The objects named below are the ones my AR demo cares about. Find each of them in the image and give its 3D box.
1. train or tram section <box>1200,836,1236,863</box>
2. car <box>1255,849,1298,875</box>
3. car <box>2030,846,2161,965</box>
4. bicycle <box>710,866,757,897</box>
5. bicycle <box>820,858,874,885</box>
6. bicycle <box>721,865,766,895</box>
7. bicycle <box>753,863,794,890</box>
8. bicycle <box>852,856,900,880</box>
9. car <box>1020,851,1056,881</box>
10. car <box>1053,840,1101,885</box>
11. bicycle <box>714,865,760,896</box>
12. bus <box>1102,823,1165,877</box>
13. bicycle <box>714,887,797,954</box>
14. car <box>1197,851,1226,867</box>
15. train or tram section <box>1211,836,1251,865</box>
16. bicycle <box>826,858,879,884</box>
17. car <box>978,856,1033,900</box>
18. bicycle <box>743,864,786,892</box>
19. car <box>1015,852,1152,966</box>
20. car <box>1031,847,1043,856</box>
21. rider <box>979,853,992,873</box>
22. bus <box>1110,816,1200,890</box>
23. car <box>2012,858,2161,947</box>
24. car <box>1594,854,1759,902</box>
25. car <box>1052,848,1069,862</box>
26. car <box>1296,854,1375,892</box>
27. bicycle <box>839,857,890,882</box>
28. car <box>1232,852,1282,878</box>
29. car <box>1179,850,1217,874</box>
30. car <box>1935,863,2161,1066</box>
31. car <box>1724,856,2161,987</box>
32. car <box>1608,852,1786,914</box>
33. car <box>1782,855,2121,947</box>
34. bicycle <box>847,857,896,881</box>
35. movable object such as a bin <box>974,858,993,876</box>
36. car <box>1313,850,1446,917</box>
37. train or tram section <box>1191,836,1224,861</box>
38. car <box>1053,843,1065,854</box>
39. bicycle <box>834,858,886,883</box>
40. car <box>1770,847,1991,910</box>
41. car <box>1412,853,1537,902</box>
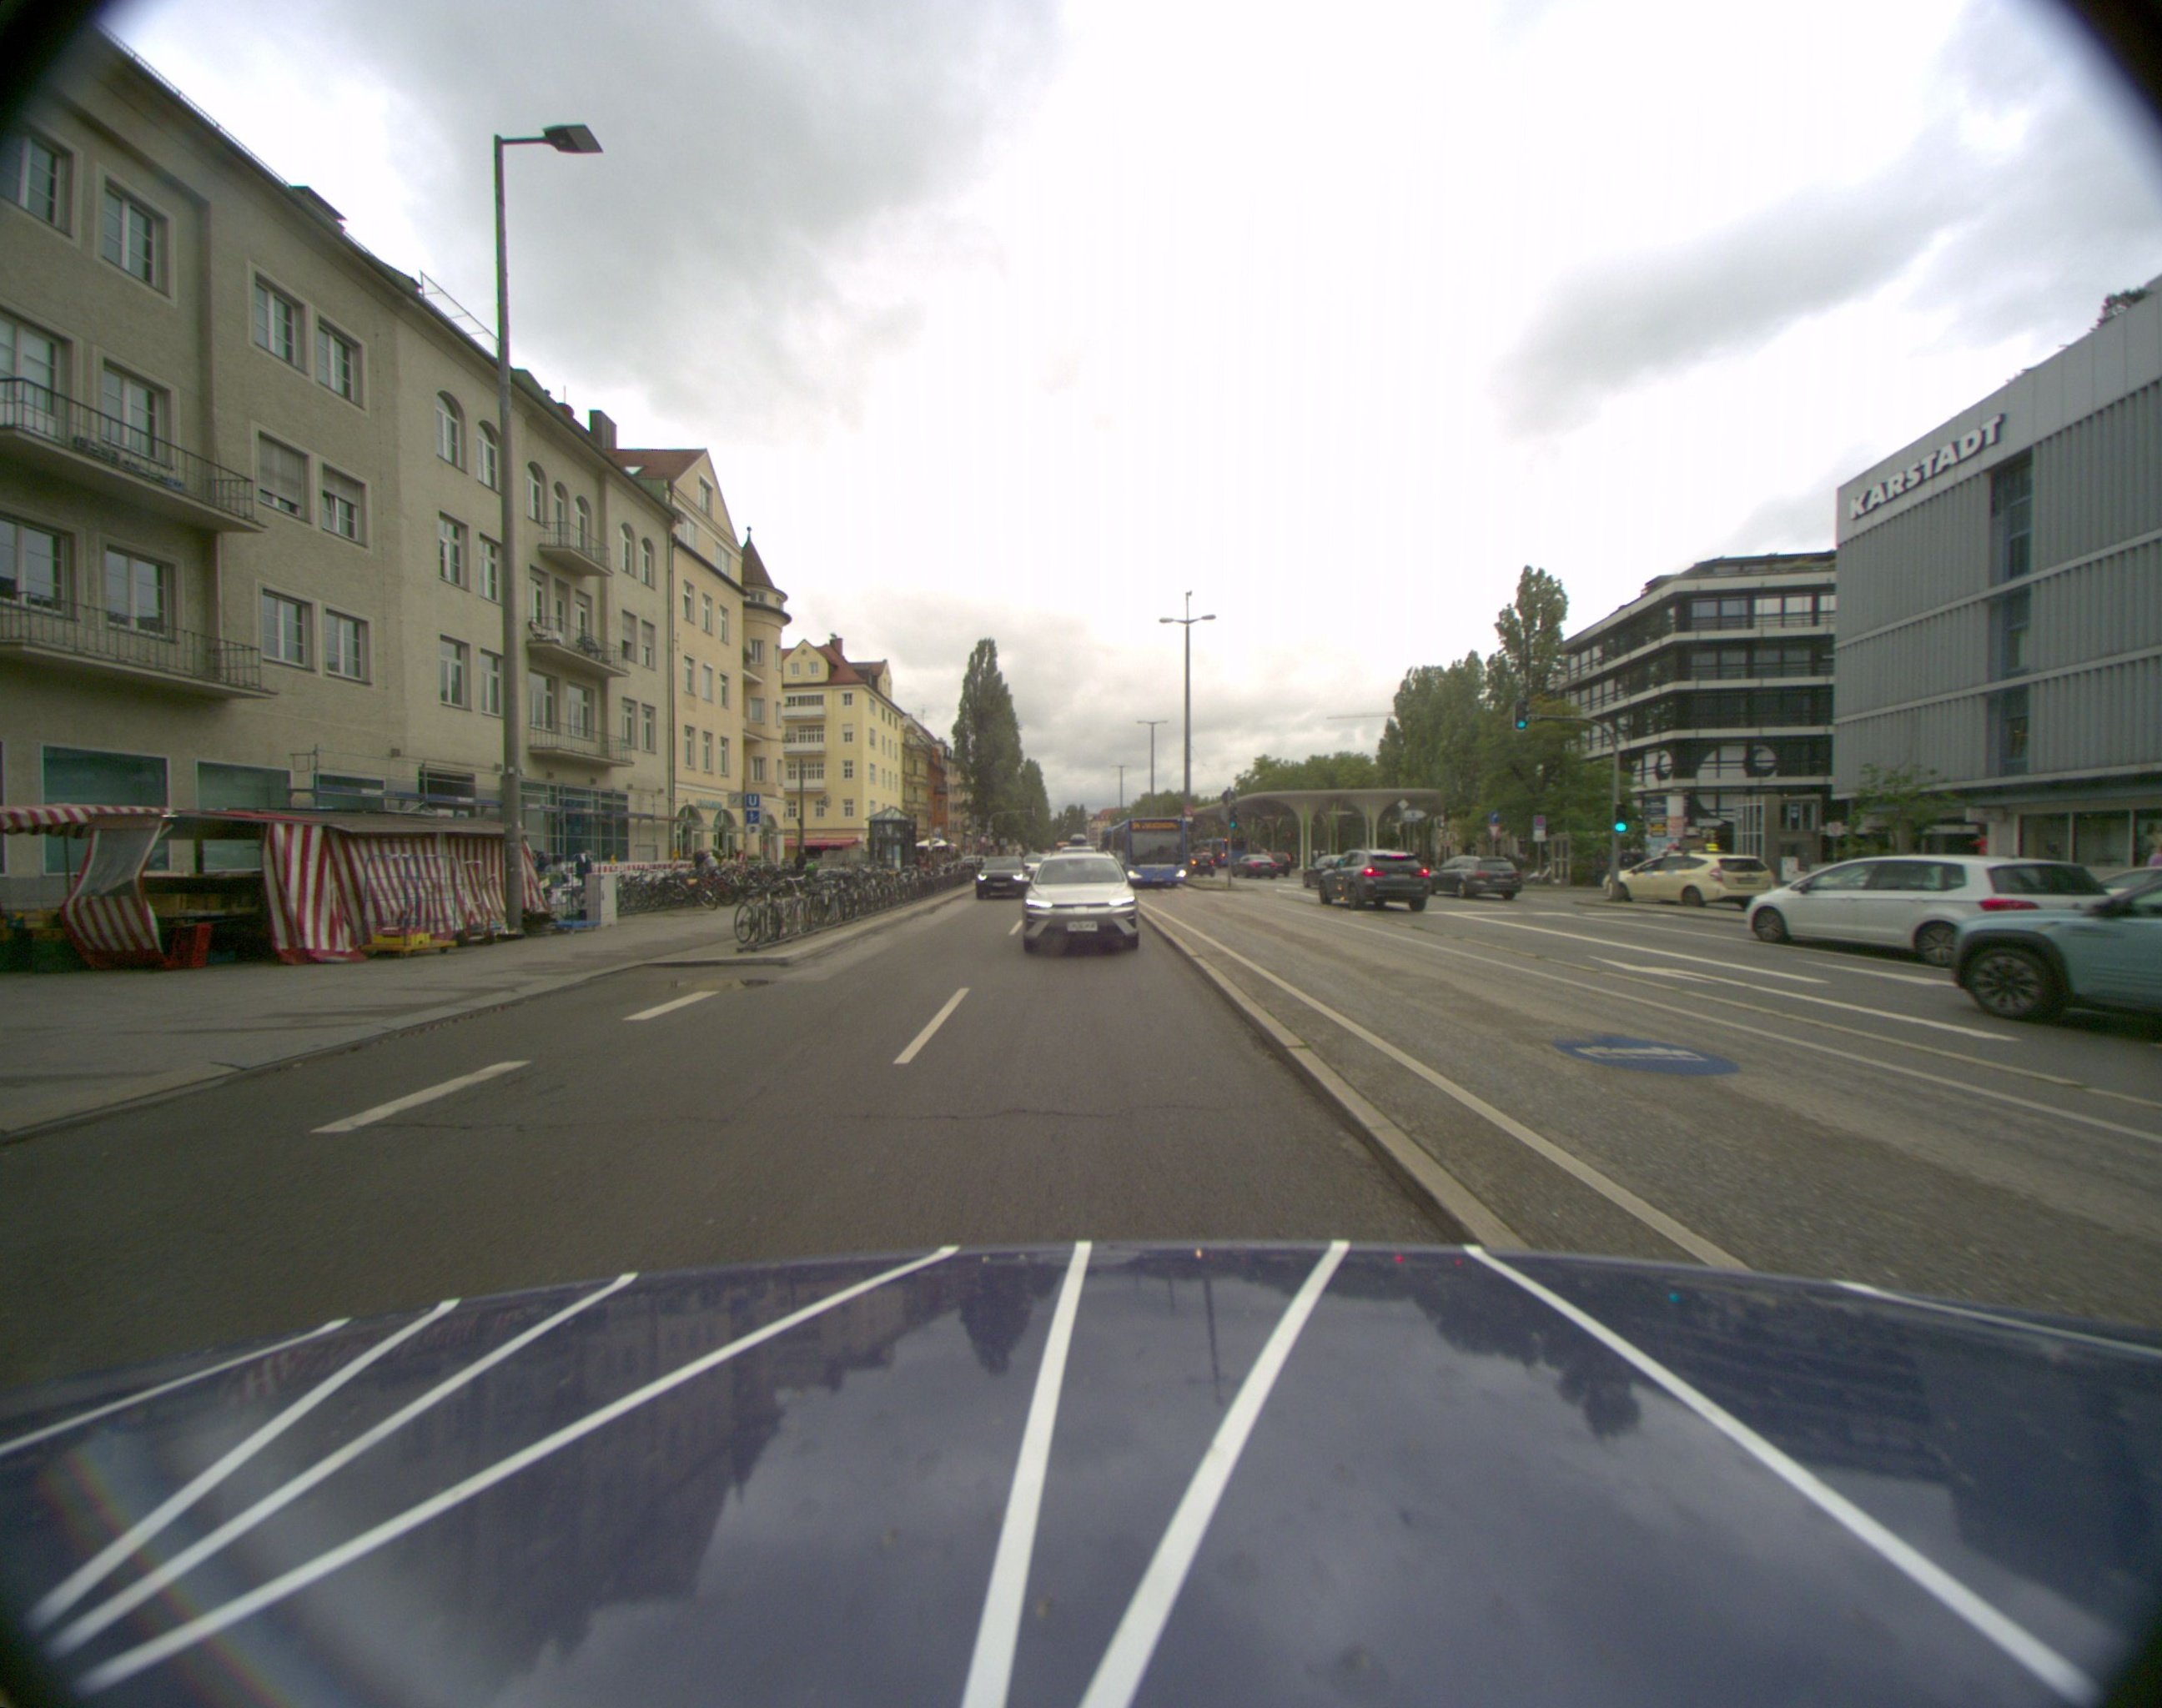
[{"bbox_3d":[15.925,-0.547,88.707,2.840,2.983,7.406,0,1,0],"label":"train or tram section"},{"bbox_3d":[13.670,0.542,53.395,1.998,1.767,4.599,0,1,2],"label":"car"},{"bbox_3d":[16.233,0.754,10.217,1.888,1.689,4.386,1,1,11],"label":"car"},{"bbox_3d":[-12.234,0.968,26.742,1.453,1.071,0.410,1,1,-9],"label":"bicycle"},{"bbox_3d":[-10.941,0.821,35.564,2.368,1.220,0.628,0,1,2],"label":"bicycle"},{"bbox_3d":[-12.361,0.950,27.850,1.453,1.071,0.410,1,1,-9],"label":"bicycle"},{"bbox_3d":[-12.275,0.899,30.325,1.452,1.071,0.410,1,1,-5],"label":"bicycle"},{"bbox_3d":[-10.737,0.732,39.778,2.317,1.220,0.628,0,1,2],"label":"bicycle"},{"bbox_3d":[-2.700,0.743,48.602,1.998,1.740,3.999,-2,1,0],"label":"car"},{"bbox_3d":[-0.174,0.340,34.910,1.998,1.889,4.234,-2,1,0],"label":"car"},{"bbox_3d":[-12.363,0.960,27.355,1.453,1.071,0.410,1,1,-9],"label":"bicycle"},{"bbox_3d":[3.056,-0.343,47.629,2.942,2.927,11.210,-1,1,-1],"label":"bus"},{"bbox_3d":[-5.581,1.132,12.993,1.572,1.048,0.548,-4,-1,38],"label":"bicycle"},{"bbox_3d":[12.760,0.474,74.660,1.999,1.567,4.615,0,1,-1],"label":"car"},{"bbox_3d":[15.951,-0.408,81.313,2.840,2.983,7.406,0,1,0],"label":"train or tram section"},{"bbox_3d":[-10.893,0.806,36.243,2.342,1.220,0.628,0,1,2],"label":"bicycle"},{"bbox_3d":[-2.723,0.826,28.101,1.740,1.462,4.049,-1,1,-2],"label":"car"},{"bbox_3d":[-12.204,0.916,29.305,1.452,1.071,0.410,1,1,-5],"label":"bicycle"},{"bbox_3d":[0.063,0.779,12.721,1.896,1.483,3.999,-2,1,1],"label":"car"},{"bbox_3d":[-8.471,-0.430,145.331,1.998,1.630,3.999,0,1,0],"label":"car"},{"bbox_3d":[-5.854,0.552,46.764,0.732,1.234,0.732,1,2,-3],"label":"rider"},{"bbox_3d":[3.237,-0.135,36.435,2.942,2.927,11.210,-1,1,-1],"label":"bus"},{"bbox_3d":[19.873,0.861,13.617,1.755,1.528,4.002,0,1,8],"label":"car"},{"bbox_3d":[20.627,0.760,26.582,1.860,1.502,4.292,0,1,-14],"label":"car"},{"bbox_3d":[-2.599,0.103,94.576,1.999,1.630,3.999,0,1,-2],"label":"car"},{"bbox_3d":[10.693,0.741,32.276,1.840,1.478,4.734,0,0,1],"label":"car"},{"bbox_3d":[-10.794,0.771,37.894,2.342,1.220,0.628,0,1,2],"label":"bicycle"},{"bbox_3d":[11.109,0.662,48.218,1.998,1.499,5.021,0,0,0],"label":"car"},{"bbox_3d":[7.665,0.486,50.080,1.562,1.498,2.785,-1,1,-13],"label":"car"},{"bbox_3d":[9.284,0.908,5.444,1.821,1.536,4.000,2,1,2],"label":"car"},{"bbox_3d":[12.771,0.863,11.805,1.998,1.591,4.289,0,1,2],"label":"car"},{"bbox_3d":[17.918,0.764,22.417,1.591,1.603,4.476,0,1,0],"label":"car"},{"bbox_3d":[17.319,0.812,15.615,1.949,1.532,4.851,0,0,10],"label":"car"},{"bbox_3d":[-10.760,0.748,39.022,2.330,1.220,0.628,0,1,2],"label":"bicycle"},{"bbox_3d":[-5.972,0.805,46.742,1.089,1.056,0.747,1,2,-3],"label":"movable object such as a bin"},{"bbox_3d":[8.050,0.722,20.993,1.998,1.611,4.413,1,1,1],"label":"car"},{"bbox_3d":[15.898,-0.690,96.105,2.840,2.983,7.406,0,1,0],"label":"train or tram section"},{"bbox_3d":[-3.390,-0.812,116.596,1.859,1.696,3.999,0,1,-1],"label":"car"},{"bbox_3d":[-10.749,0.788,36.958,2.317,1.220,0.628,0,1,2],"label":"bicycle"},{"bbox_3d":[21.706,0.602,20.905,1.911,1.558,4.000,0,0,2],"label":"car"},{"bbox_3d":[13.892,0.776,27.229,1.964,1.537,4.947,0,1,1],"label":"car"}]
